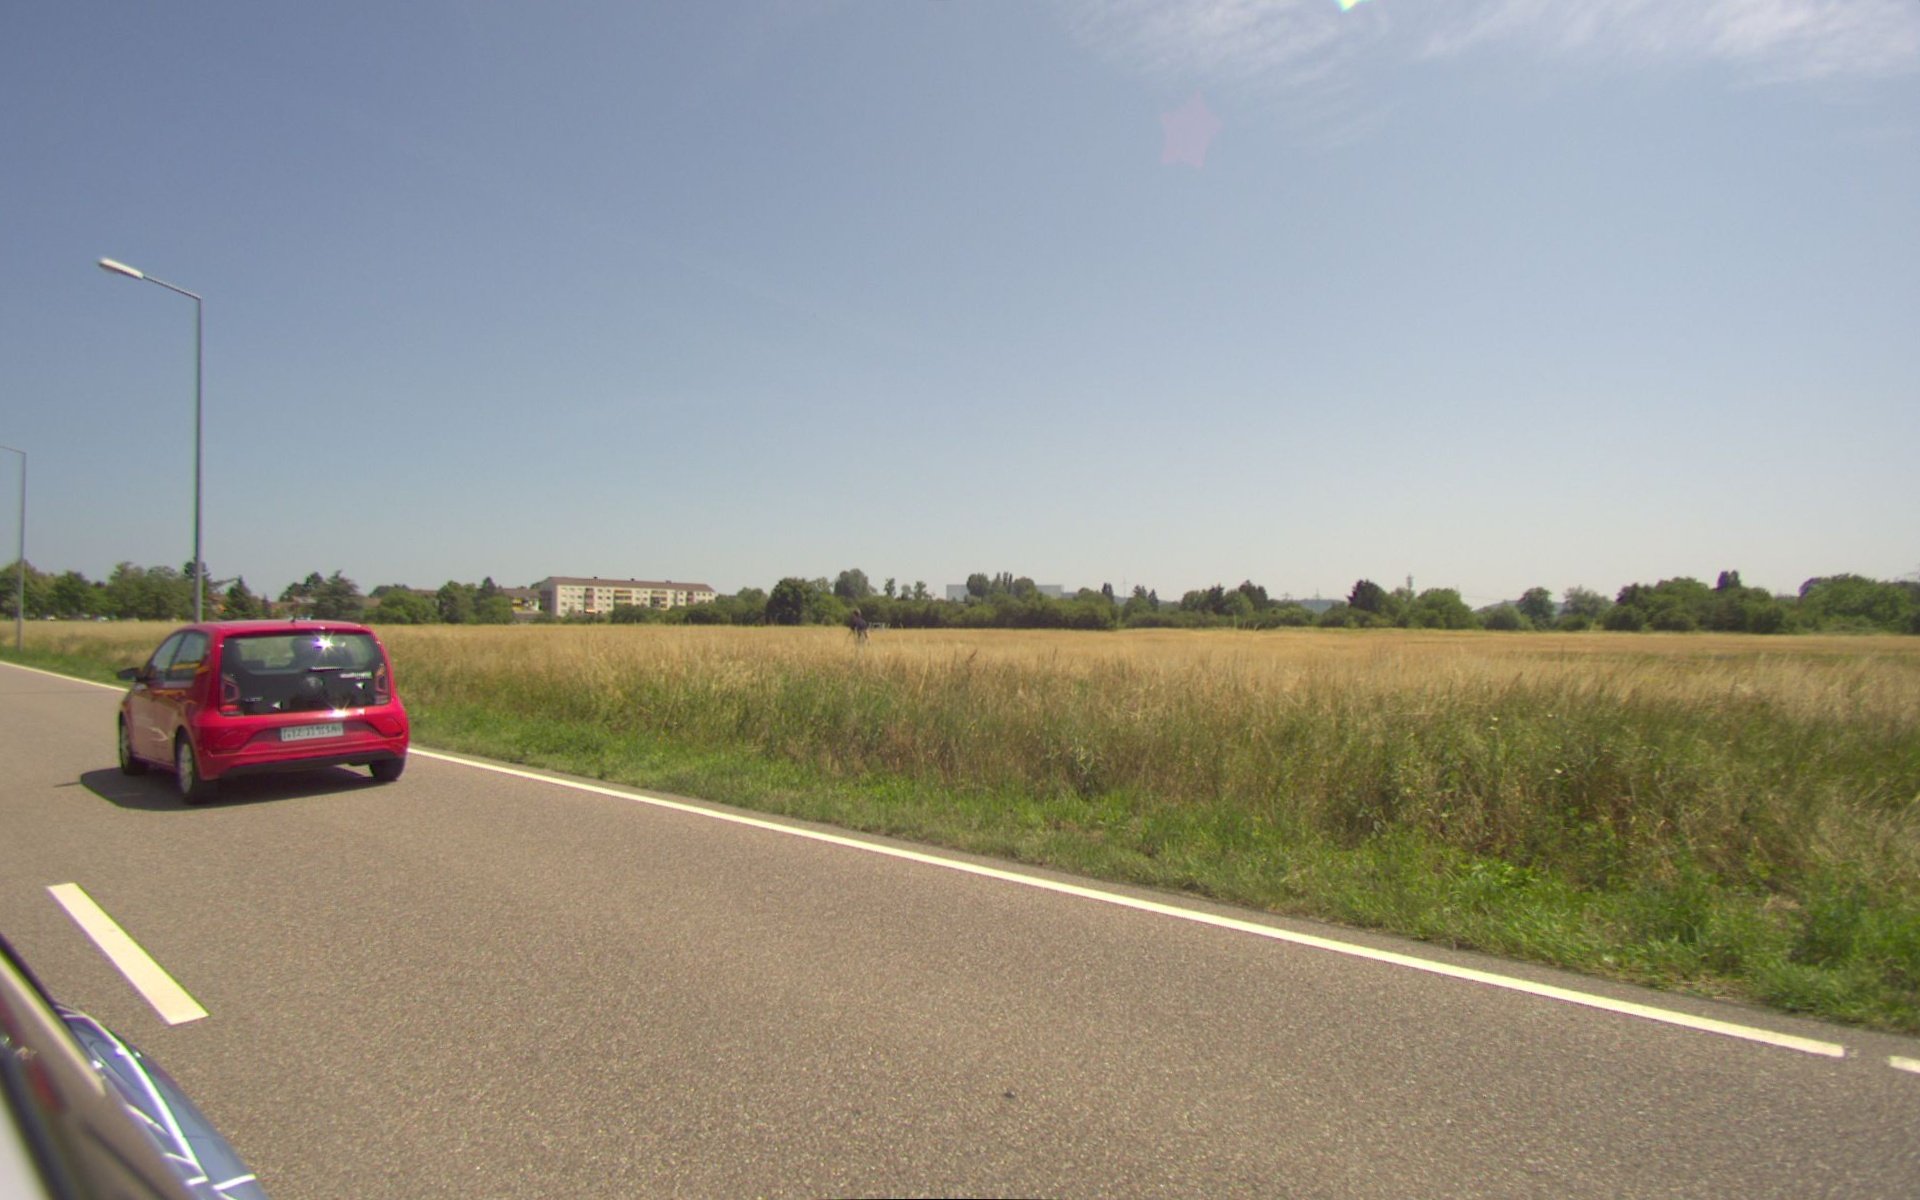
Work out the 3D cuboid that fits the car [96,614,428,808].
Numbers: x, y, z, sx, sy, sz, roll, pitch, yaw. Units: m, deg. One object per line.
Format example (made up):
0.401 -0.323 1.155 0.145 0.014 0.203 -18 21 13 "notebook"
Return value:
-6.604 0.865 9.423 3.843 1.410 1.628 0 -1 41 "car"
